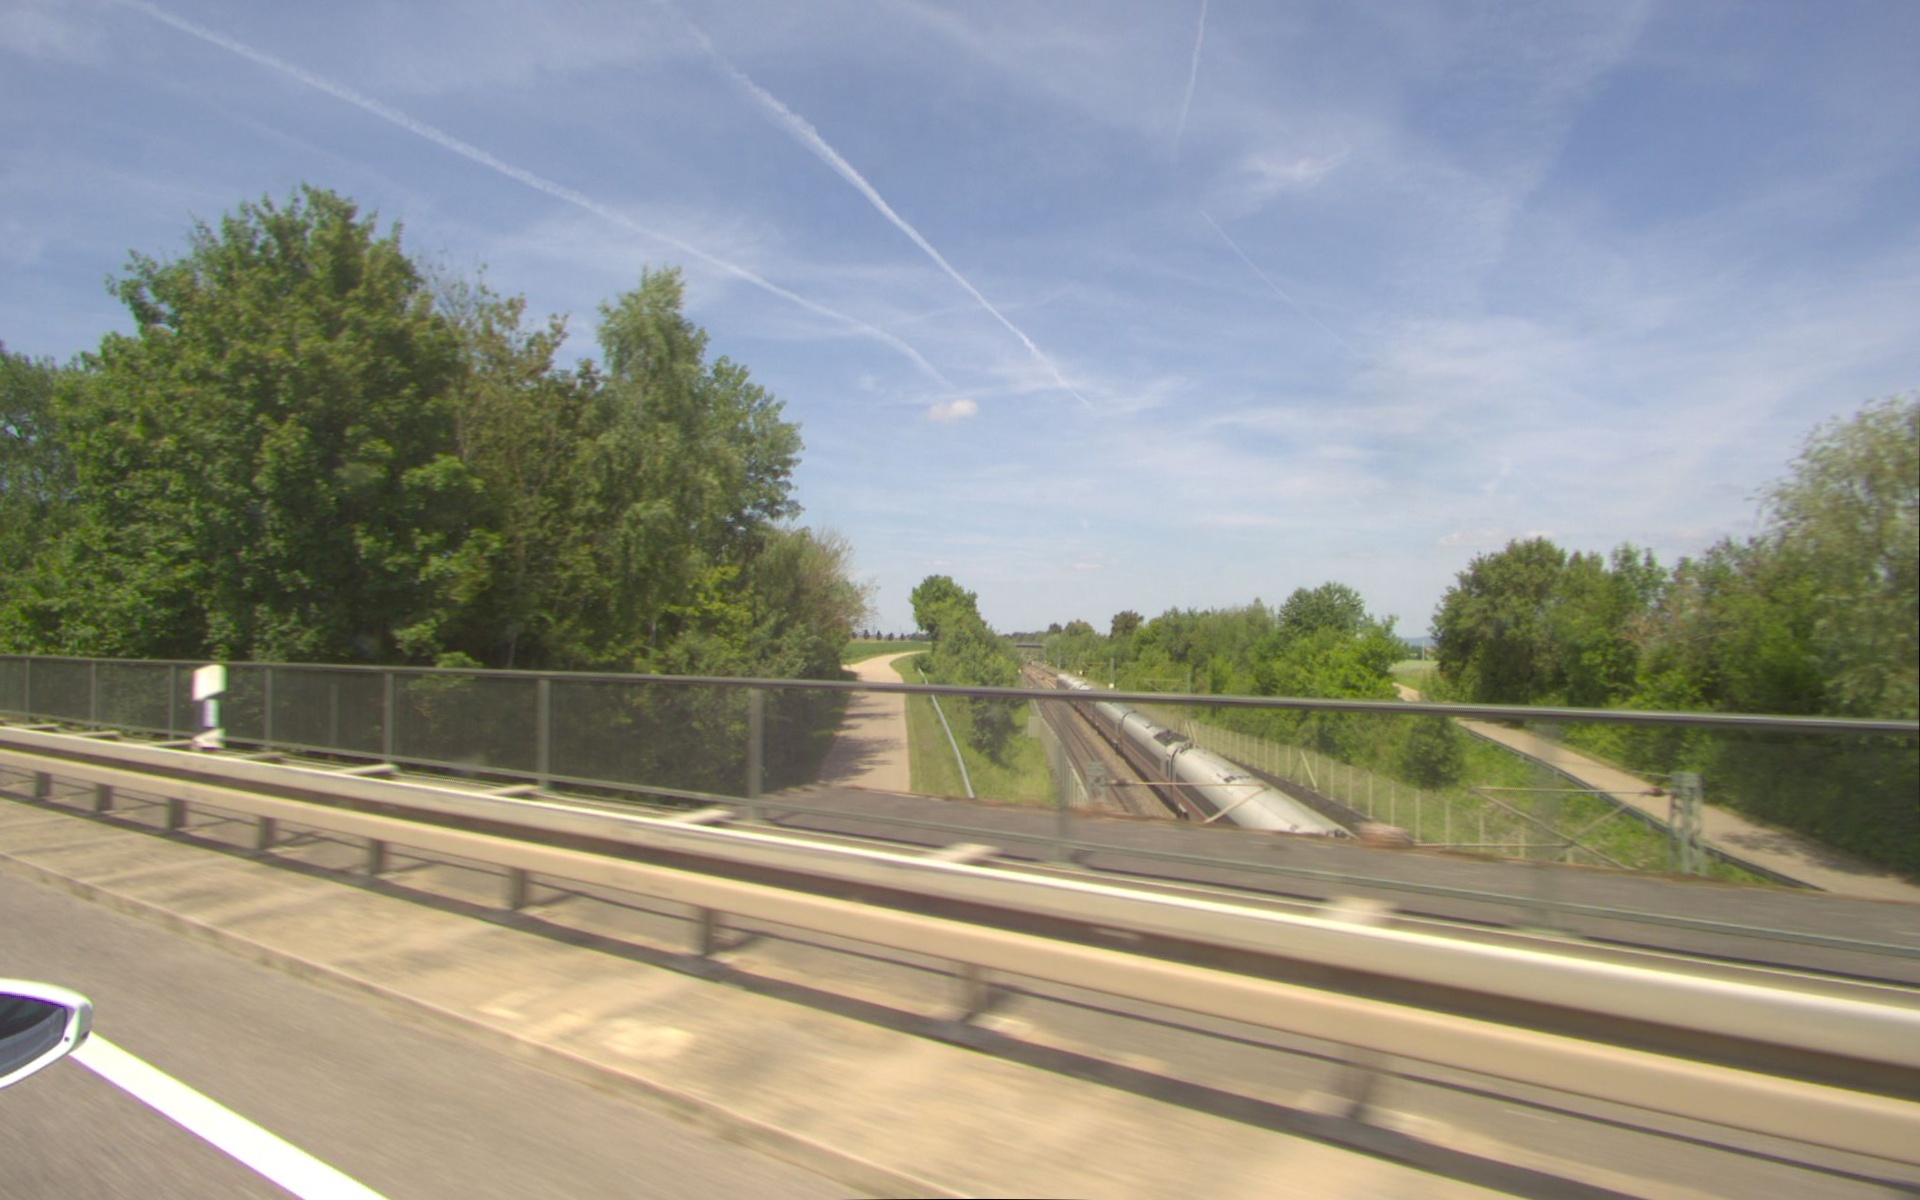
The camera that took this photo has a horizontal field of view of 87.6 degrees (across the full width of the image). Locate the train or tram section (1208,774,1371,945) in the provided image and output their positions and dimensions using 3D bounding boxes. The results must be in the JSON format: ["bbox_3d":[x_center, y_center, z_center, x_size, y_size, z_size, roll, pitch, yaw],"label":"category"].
[{"bbox_3d":[12.995,10.097,40.979,2.504,4.283,12.459,1,-2,0],"label":"train or tram section"}]

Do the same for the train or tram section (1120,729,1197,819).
[{"bbox_3d":[12.840,11.197,65.936,2.504,4.283,12.459,1,-2,0],"label":"train or tram section"}]

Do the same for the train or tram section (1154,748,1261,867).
[{"bbox_3d":[12.893,10.731,53.479,2.504,4.283,12.459,1,-2,0],"label":"train or tram section"}]
